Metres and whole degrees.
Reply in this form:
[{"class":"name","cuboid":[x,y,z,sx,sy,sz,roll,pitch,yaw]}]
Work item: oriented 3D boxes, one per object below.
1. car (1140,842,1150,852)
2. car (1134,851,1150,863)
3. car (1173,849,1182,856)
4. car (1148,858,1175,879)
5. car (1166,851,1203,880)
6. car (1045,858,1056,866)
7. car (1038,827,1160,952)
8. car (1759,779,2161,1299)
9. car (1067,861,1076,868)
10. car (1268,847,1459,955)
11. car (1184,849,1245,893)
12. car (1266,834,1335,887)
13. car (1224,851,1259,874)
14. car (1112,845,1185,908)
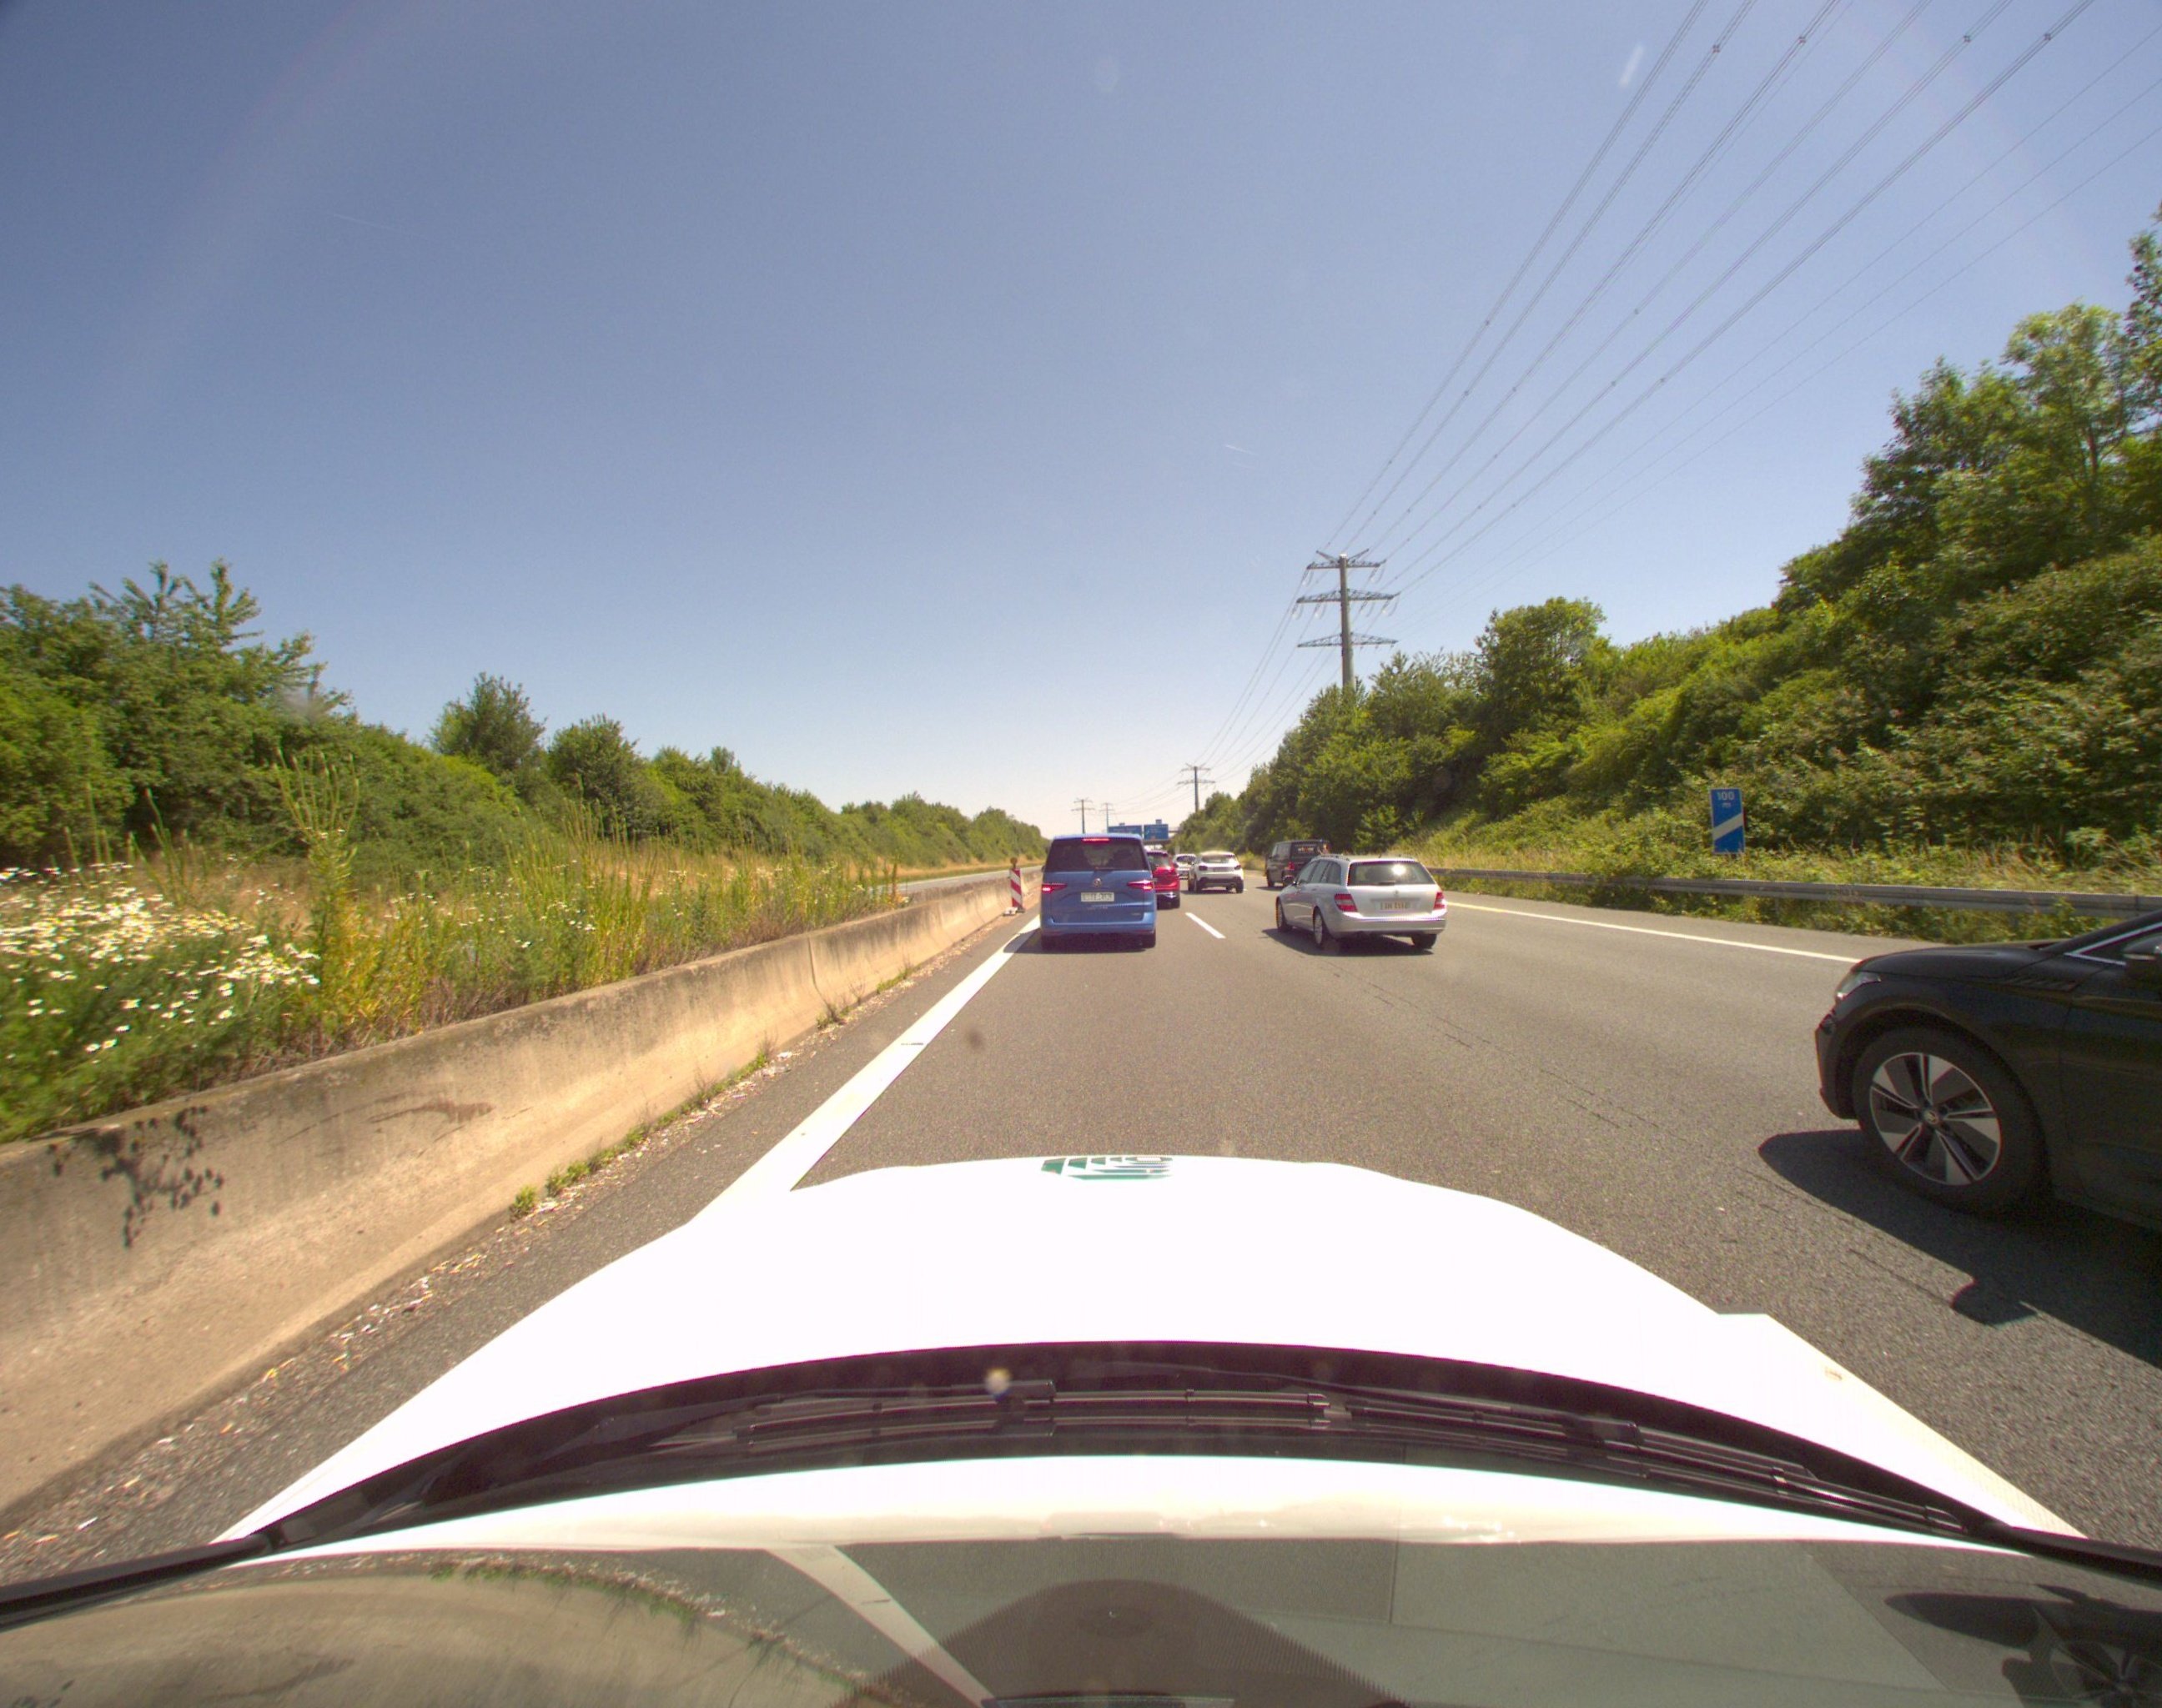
[{"class":"car","cuboid":[16.305,-1.773,208.635,2.368,2.428,4.228,0,0,2]},{"class":"car","cuboid":[7.840,0.403,104.653,1.791,1.594,4.228,0,0,2]},{"class":"car","cuboid":[25.117,-0.427,211.724,1.868,1.671,4.360,0,0,1]},{"class":"car","cuboid":[6.138,1.091,62.213,1.791,1.594,4.228,0,0,2]},{"class":"car","cuboid":[6.075,0.663,48.379,1.791,1.594,4.228,0,0,2]},{"class":"car","cuboid":[-7.341,1.902,196.542,1.986,1.650,4.632,-4,0,2]},{"class":"car","cuboid":[0.314,0.552,14.706,1.868,1.912,4.360,0,0,1]},{"class":"car","cuboid":[4.267,0.580,1.926,1.695,1.655,4.430,0,0,1]},{"class":"car","cuboid":[-2.278,2.538,198.307,1.986,1.662,4.231,-3,0,2]},{"class":"car","cuboid":[4.484,0.674,13.664,1.764,1.517,4.360,0,0,1]},{"class":"car","cuboid":[5.075,0.634,31.528,1.791,1.594,4.228,0,0,2]},{"class":"car","cuboid":[8.795,0.259,32.954,1.790,2.014,4.230,0,0,3]},{"class":"car","cuboid":[11.363,0.607,57.811,1.791,1.594,4.228,0,0,2]},{"class":"car","cuboid":[1.871,0.611,23.771,1.868,1.671,4.360,0,0,1]}]
